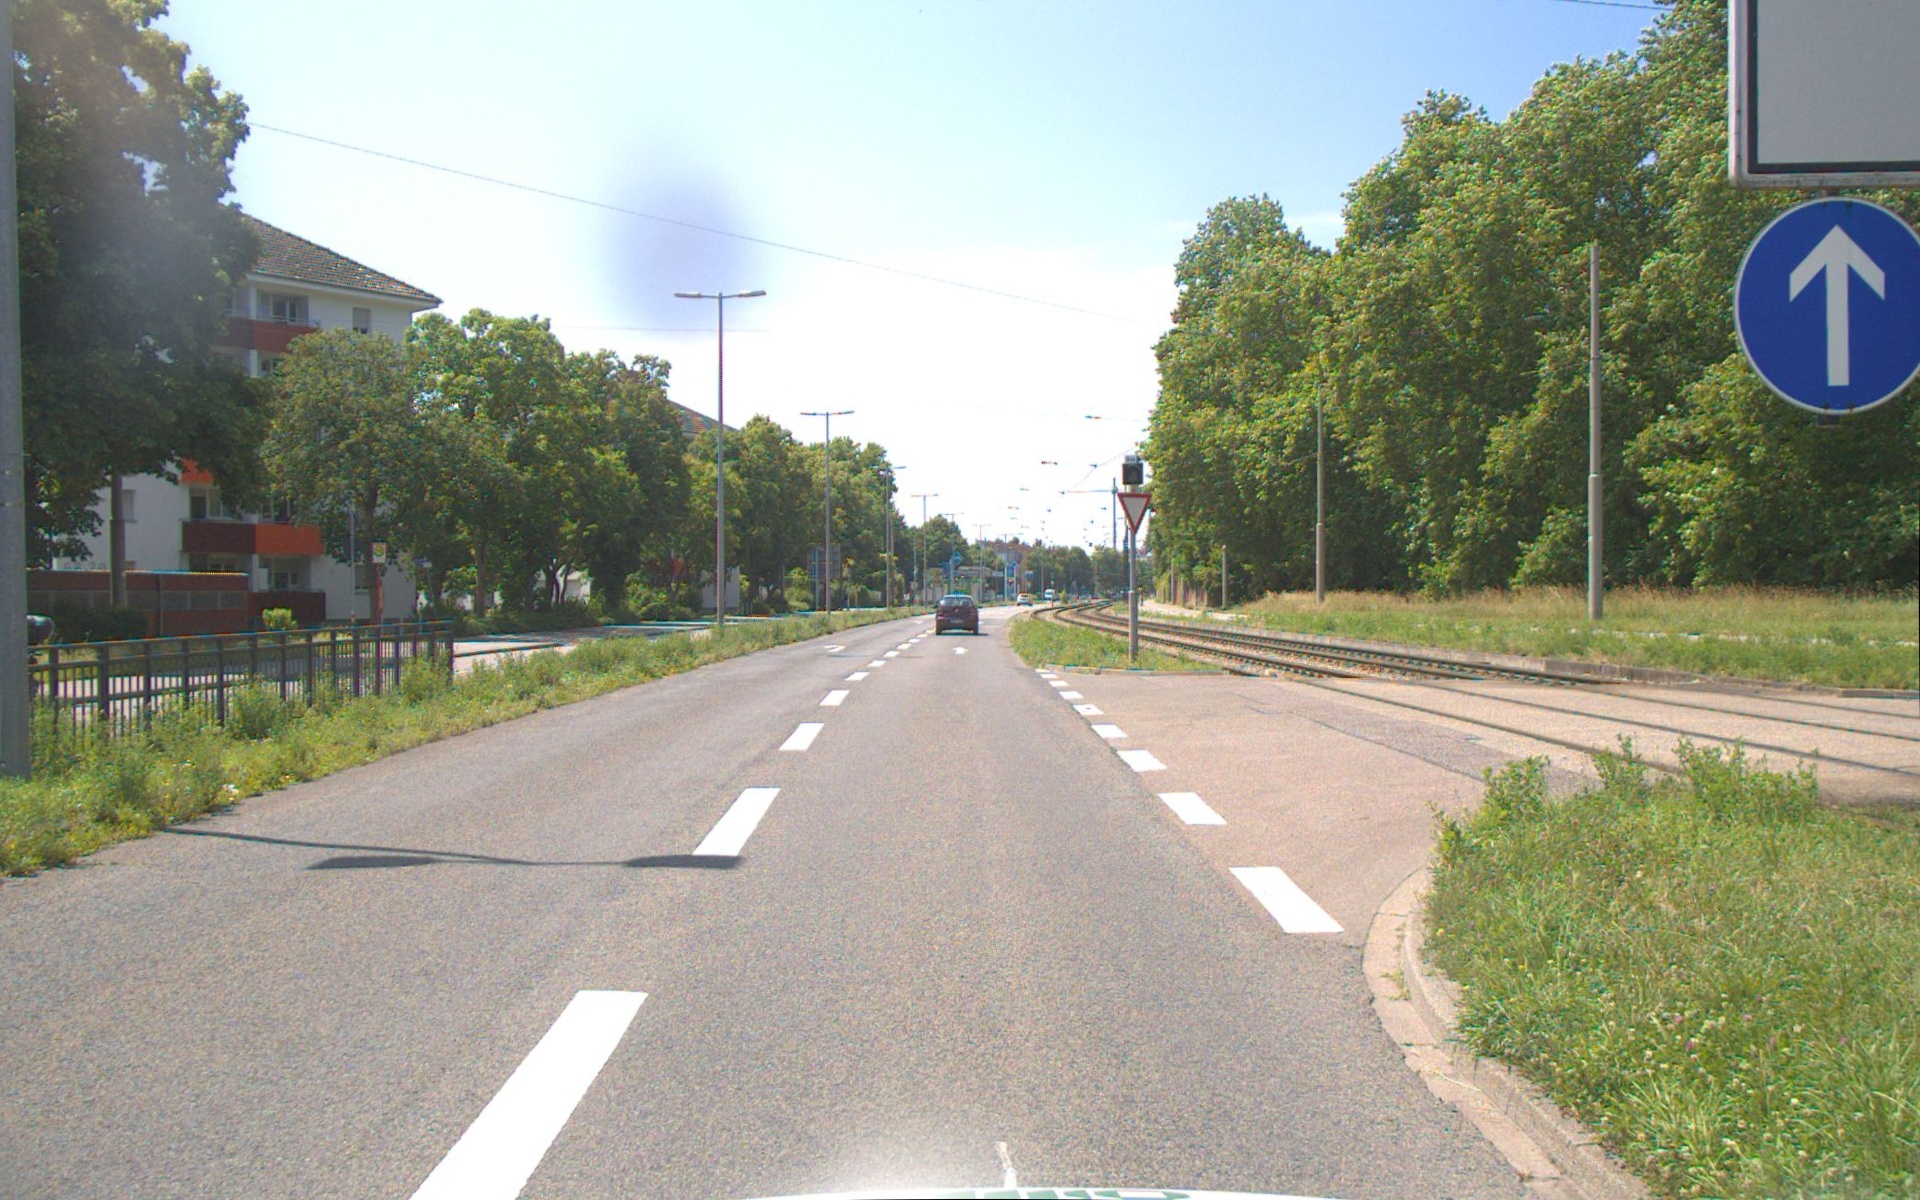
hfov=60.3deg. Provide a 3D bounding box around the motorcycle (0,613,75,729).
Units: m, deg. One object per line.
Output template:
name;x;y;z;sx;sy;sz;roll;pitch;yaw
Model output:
motorcycle;-11.461;0.833;19.538;0.789;1.321;2.394;-1;0;-3

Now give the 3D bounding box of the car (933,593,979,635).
car;-0.136;0.540;62.741;1.668;1.503;3.716;1;-1;0

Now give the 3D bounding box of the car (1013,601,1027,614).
car;7.518;0.926;205.970;1.667;1.506;3.717;2;-1;1

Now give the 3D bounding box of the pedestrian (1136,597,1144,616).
pedestrian;16.523;0.615;151.941;0.647;1.756;0.817;0;0;5

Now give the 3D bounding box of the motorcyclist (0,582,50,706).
motorcyclist;-11.467;0.512;19.505;0.722;1.428;1.511;-1;0;-6
